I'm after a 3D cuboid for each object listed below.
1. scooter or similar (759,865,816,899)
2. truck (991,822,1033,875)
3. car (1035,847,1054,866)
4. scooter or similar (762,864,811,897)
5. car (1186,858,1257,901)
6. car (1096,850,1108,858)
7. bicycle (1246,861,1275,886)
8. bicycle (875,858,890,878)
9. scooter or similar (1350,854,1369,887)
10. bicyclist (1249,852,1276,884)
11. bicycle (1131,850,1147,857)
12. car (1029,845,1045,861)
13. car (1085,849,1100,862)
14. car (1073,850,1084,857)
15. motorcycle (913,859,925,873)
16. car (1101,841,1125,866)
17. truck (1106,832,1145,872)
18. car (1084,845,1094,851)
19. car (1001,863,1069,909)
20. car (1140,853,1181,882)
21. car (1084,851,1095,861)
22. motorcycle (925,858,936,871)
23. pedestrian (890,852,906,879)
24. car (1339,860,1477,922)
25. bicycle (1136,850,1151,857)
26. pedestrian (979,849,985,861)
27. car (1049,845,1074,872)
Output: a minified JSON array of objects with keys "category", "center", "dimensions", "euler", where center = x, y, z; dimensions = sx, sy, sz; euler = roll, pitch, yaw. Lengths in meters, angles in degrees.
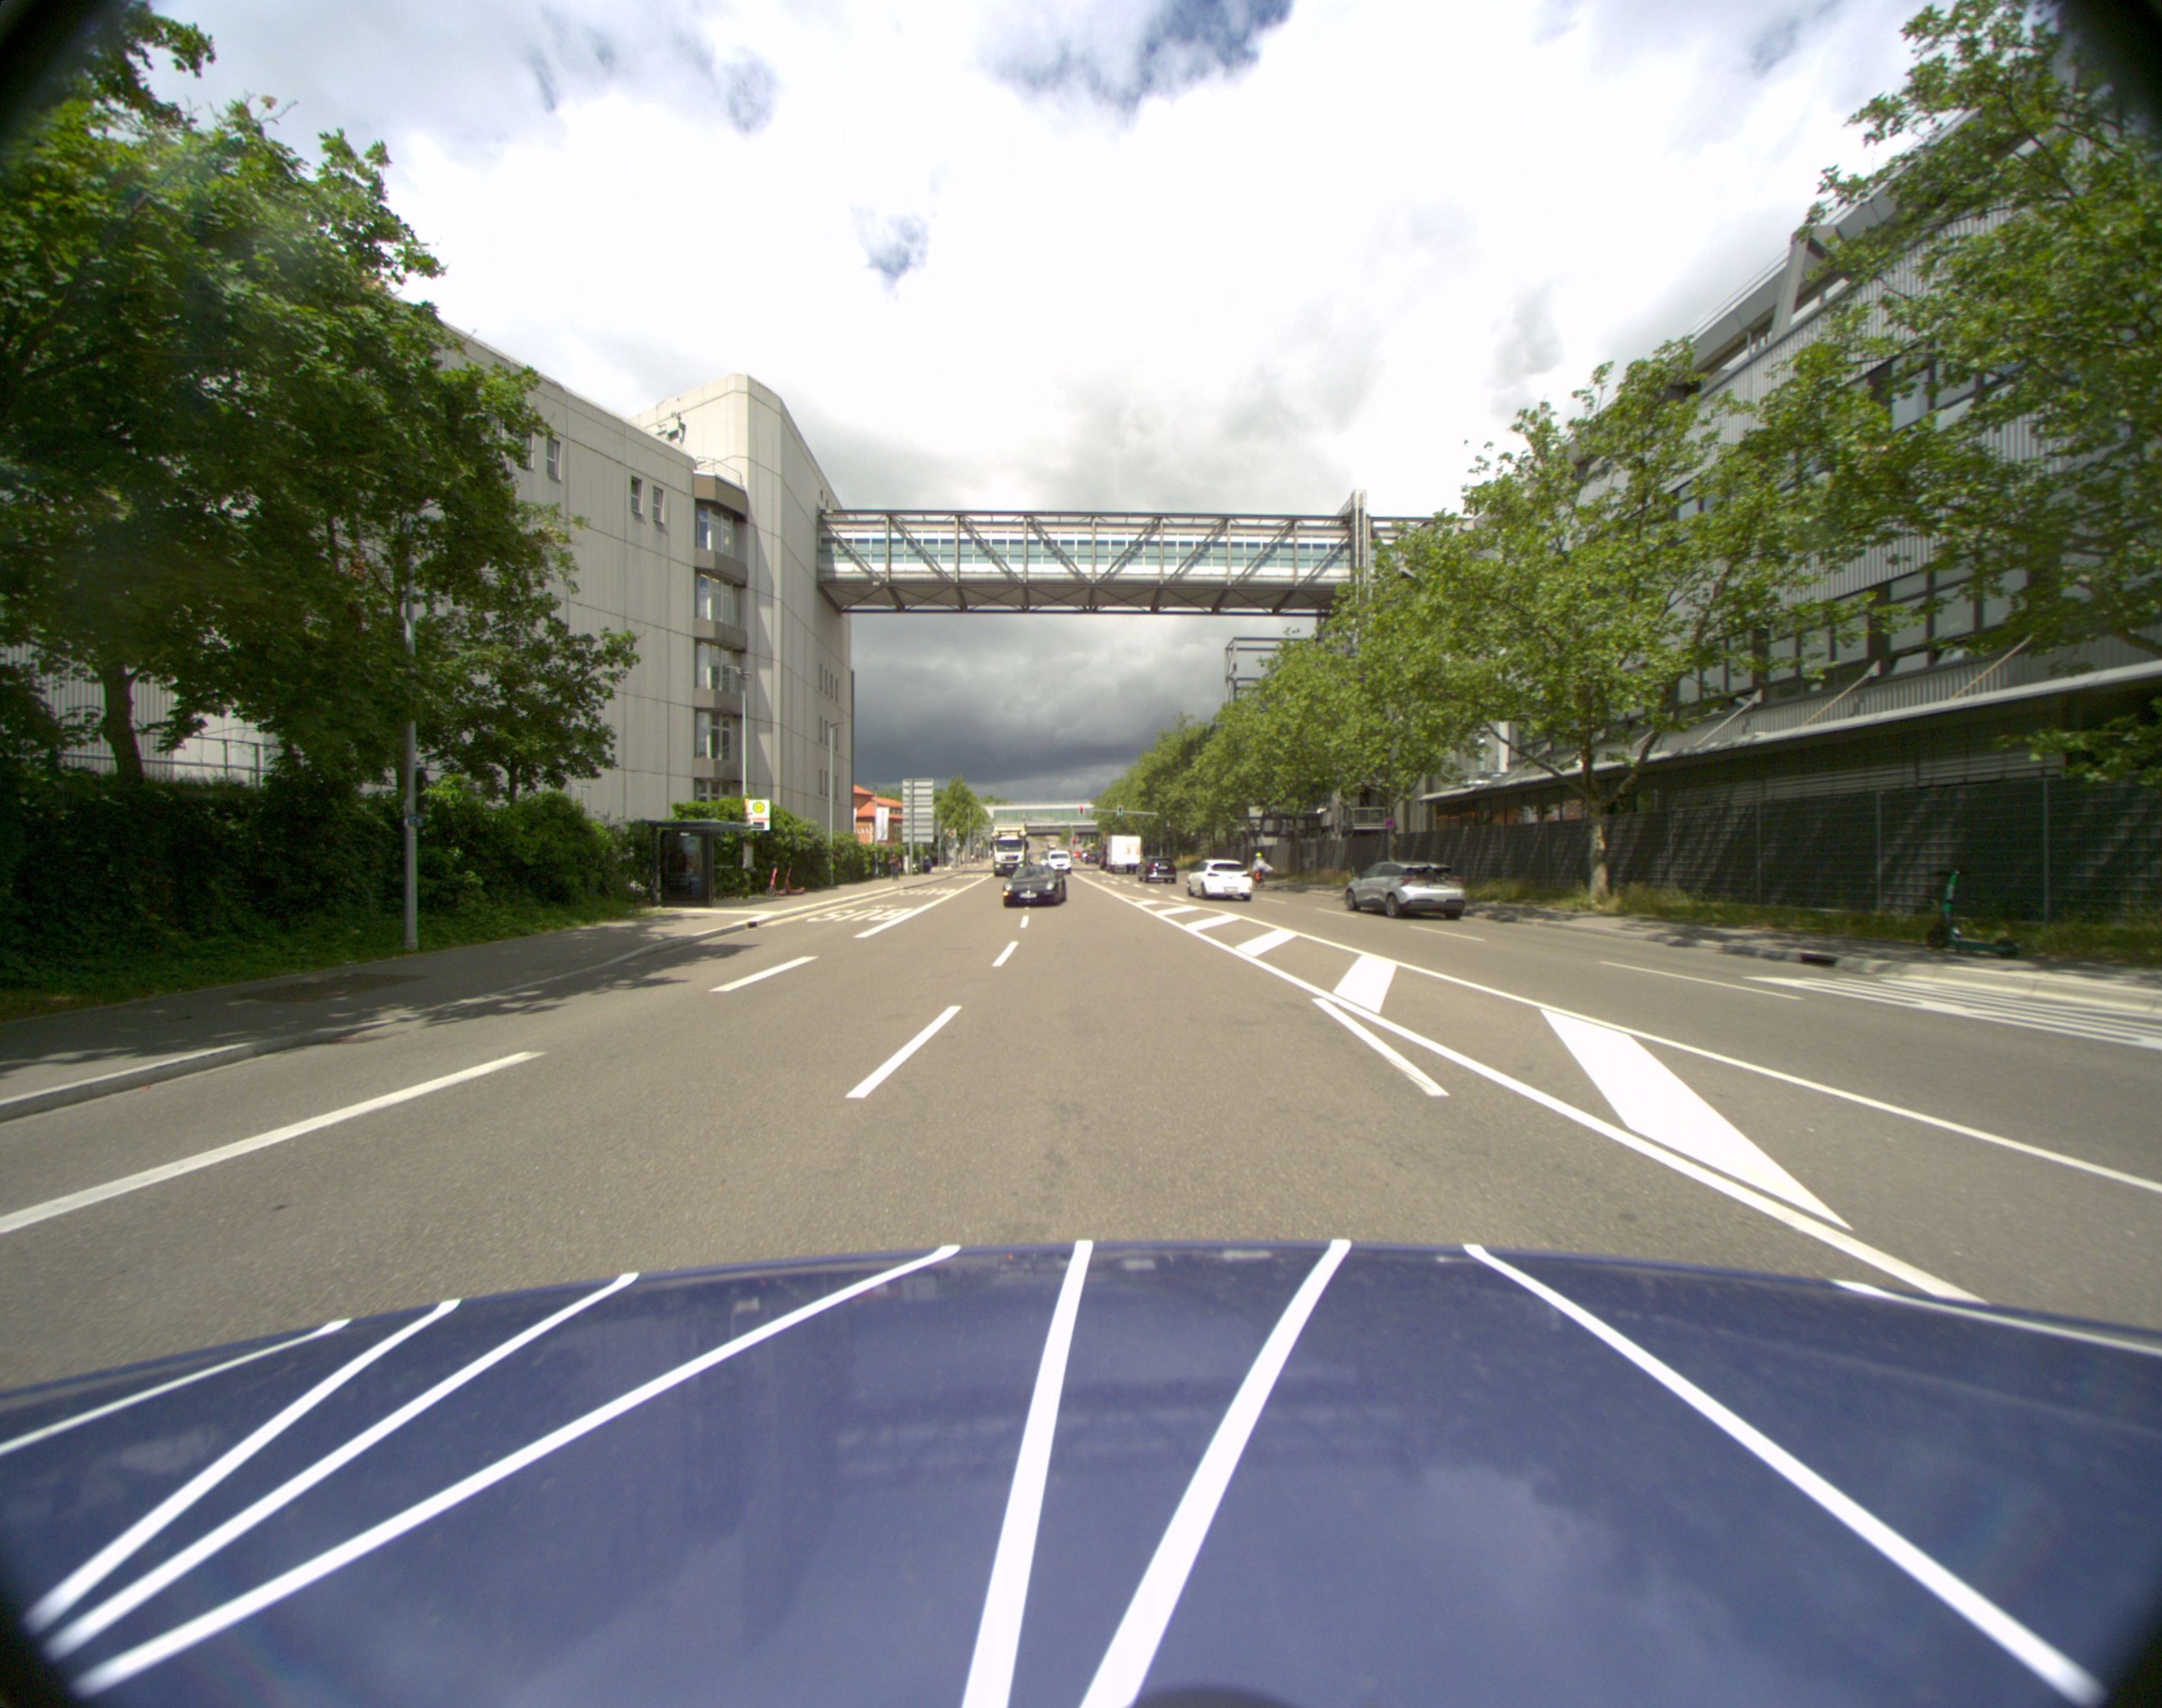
[{"category":"scooter or similar","center":[-10.531,0.984,27.327],"dimensions":[0.542,1.156,2.131],"euler":[1,0,25]},{"category":"truck","center":[-5.386,-0.480,61.336],"dimensions":[2.713,3.863,10.737],"euler":[-2,1,-2]},{"category":"car","center":[-3.986,0.264,82.629],"dimensions":[1.872,1.944,4.709],"euler":[-2,1,-1]},{"category":"scooter or similar","center":[-10.898,0.966,28.181],"dimensions":[0.542,1.156,1.795],"euler":[1,0,25]},{"category":"car","center":[5.121,0.905,28.252],"dimensions":[1.696,1.406,4.144],"euler":[1,0,-2]},{"category":"car","center":[3.696,0.064,135.123],"dimensions":[1.697,1.421,3.820],"euler":[0,0,-4]},{"category":"bicycle","center":[9.357,0.990,39.653],"dimensions":[0.738,1.227,2.472],"euler":[1,1,-4]},{"category":"bicycle","center":[-12.727,0.880,48.775],"dimensions":[0.444,1.173,2.467],"euler":[-2,1,-3]},{"category":"scooter or similar","center":[12.210,0.731,33.312],"dimensions":[0.304,1.395,1.235],"euler":[-2,1,-3]},{"category":"bicyclist","center":[9.365,0.706,39.222],"dimensions":[0.958,1.588,1.222],"euler":[1,1,-5]},{"category":"bicycle","center":[9.684,-0.083,126.471],"dimensions":[2.565,1.079,0.615],"euler":[-2,1,-11]},{"category":"car","center":[-5.717,-0.144,99.683],"dimensions":[1.872,1.944,4.709],"euler":[-2,1,-1]},{"category":"car","center":[1.523,0.227,102.645],"dimensions":[1.741,1.674,4.211],"euler":[-2,1,-3]},{"category":"car","center":[-0.454,-0.104,152.005],"dimensions":[1.890,1.446,3.901],"euler":[1,1,-3]},{"category":"motorcycle","center":[-12.626,0.931,59.373],"dimensions":[0.592,1.061,2.036],"euler":[1,0,-3]},{"category":"car","center":[3.265,-0.102,79.053],"dimensions":[2.069,2.492,5.478],"euler":[1,0,-2]},{"category":"truck","center":[3.678,-0.201,64.532],"dimensions":[2.459,3.111,7.240],"euler":[-2,1,-3]},{"category":"car","center":[1.780,-1.448,177.799],"dimensions":[1.999,1.446,4.766],"euler":[1,1,-4]},{"category":"car","center":[-1.425,1.001,25.041],"dimensions":[1.838,1.317,4.001],"euler":[-2,0,2]},{"category":"car","center":[4.645,0.749,44.827],"dimensions":[1.745,1.572,4.265],"euler":[2,0,-2]},{"category":"car","center":[1.255,0.307,116.851],"dimensions":[1.562,1.496,3.612],"euler":[1,1,-2]},{"category":"motorcycle","center":[-12.942,0.882,65.293],"dimensions":[0.592,1.061,2.036],"euler":[1,0,-3]},{"category":"pedestrian","center":[-11.330,0.681,47.054],"dimensions":[0.812,1.635,0.997],"euler":[1,1,-4]},{"category":"car","center":[8.919,0.939,21.143],"dimensions":[1.883,1.496,4.190],"euler":[1,0,-2]},{"category":"bicycle","center":[10.239,-0.079,124.548],"dimensions":[2.561,1.079,0.616],"euler":[-2,1,5]},{"category":"pedestrian","center":[-14.258,0.109,109.188],"dimensions":[0.729,1.756,1.015],"euler":[-2,1,-3]},{"category":"car","center":[-1.499,0.396,60.772],"dimensions":[1.825,2.001,4.392],"euler":[-1,-1,0]}]
